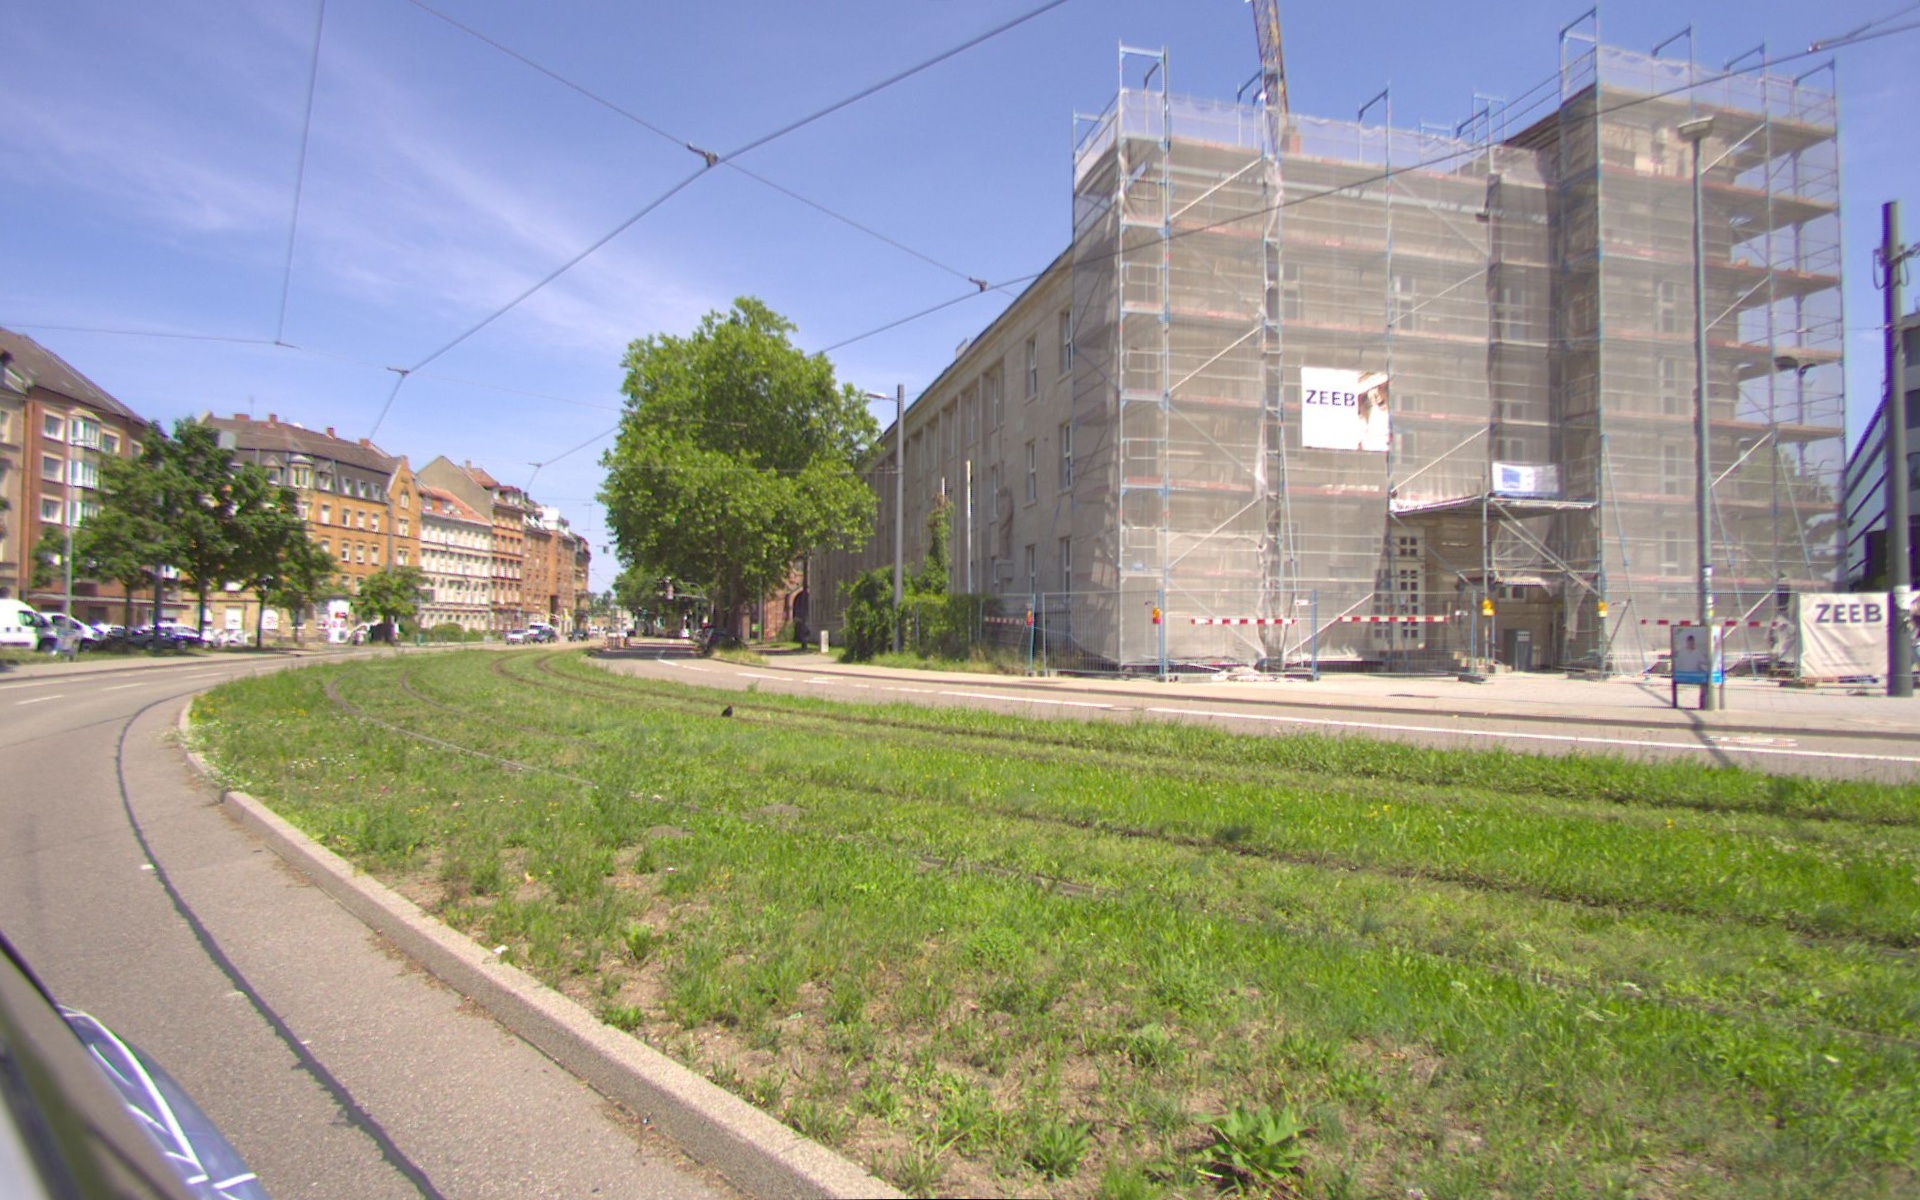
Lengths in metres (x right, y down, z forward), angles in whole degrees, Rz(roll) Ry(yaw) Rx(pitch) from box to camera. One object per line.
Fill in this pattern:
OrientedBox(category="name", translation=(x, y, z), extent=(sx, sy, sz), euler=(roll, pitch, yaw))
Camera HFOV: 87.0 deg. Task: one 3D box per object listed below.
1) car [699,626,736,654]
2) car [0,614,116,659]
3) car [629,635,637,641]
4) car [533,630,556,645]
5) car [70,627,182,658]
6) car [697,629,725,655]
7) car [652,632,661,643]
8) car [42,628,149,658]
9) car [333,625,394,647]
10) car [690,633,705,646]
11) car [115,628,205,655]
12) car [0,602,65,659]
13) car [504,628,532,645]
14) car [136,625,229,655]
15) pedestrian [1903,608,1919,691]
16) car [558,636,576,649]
OrientedBox(category="car", translation=(-13.447, 2.190, 56.041), extent=(1.565, 1.434, 4.336), euler=(-1, -2, -19))
OrientedBox(category="car", translation=(-42.859, 1.713, 47.575), extent=(4.776, 1.988, 2.078), euler=(0, -2, -44))
OrientedBox(category="car", translation=(-75.227, 8.757, 232.793), extent=(1.722, 1.405, 4.360), euler=(-2, -1, -18))
OrientedBox(category="car", translation=(-45.128, 4.063, 109.970), extent=(1.771, 1.586, 4.010), euler=(-1, -2, -14))
OrientedBox(category="car", translation=(-44.395, 2.258, 54.001), extent=(4.559, 1.508, 1.969), euler=(0, -2, -39))
OrientedBox(category="car", translation=(-18.606, 3.124, 75.584), extent=(1.966, 1.824, 4.312), euler=(-1, -2, -14))
OrientedBox(category="car", translation=(-62.218, 7.717, 207.408), extent=(1.791, 2.314, 3.773), euler=(-1, -2, -18))
OrientedBox(category="car", translation=(-43.281, 2.126, 50.805), extent=(3.934, 1.397, 1.828), euler=(0, -2, -36))
OrientedBox(category="car", translation=(-55.913, 3.399, 94.951), extent=(4.770, 1.953, 2.174), euler=(0, -2, -26))
OrientedBox(category="car", translation=(-31.578, 4.777, 121.838), extent=(1.635, 1.470, 4.232), euler=(-1, -2, -15))
OrientedBox(category="car", translation=(-44.963, 2.300, 56.989), extent=(3.934, 1.410, 1.828), euler=(0, -2, -36))
OrientedBox(category="car", translation=(-42.408, 1.340, 43.577), extent=(2.235, 2.479, 5.480), euler=(-2, -2, 38))
OrientedBox(category="car", translation=(-42.858, 3.541, 98.172), extent=(1.771, 1.586, 4.010), euler=(-1, -2, -14))
OrientedBox(category="car", translation=(-46.015, 2.349, 59.990), extent=(4.341, 1.644, 2.004), euler=(0, -2, -37))
OrientedBox(category="pedestrian", translation=(17.998, 0.915, 18.678), extent=(0.572, 1.530, 0.589), euler=(-1, -2, -1))
OrientedBox(category="car", translation=(-51.190, 5.513, 131.837), extent=(1.771, 1.586, 4.012), euler=(-1, -2, -17))
